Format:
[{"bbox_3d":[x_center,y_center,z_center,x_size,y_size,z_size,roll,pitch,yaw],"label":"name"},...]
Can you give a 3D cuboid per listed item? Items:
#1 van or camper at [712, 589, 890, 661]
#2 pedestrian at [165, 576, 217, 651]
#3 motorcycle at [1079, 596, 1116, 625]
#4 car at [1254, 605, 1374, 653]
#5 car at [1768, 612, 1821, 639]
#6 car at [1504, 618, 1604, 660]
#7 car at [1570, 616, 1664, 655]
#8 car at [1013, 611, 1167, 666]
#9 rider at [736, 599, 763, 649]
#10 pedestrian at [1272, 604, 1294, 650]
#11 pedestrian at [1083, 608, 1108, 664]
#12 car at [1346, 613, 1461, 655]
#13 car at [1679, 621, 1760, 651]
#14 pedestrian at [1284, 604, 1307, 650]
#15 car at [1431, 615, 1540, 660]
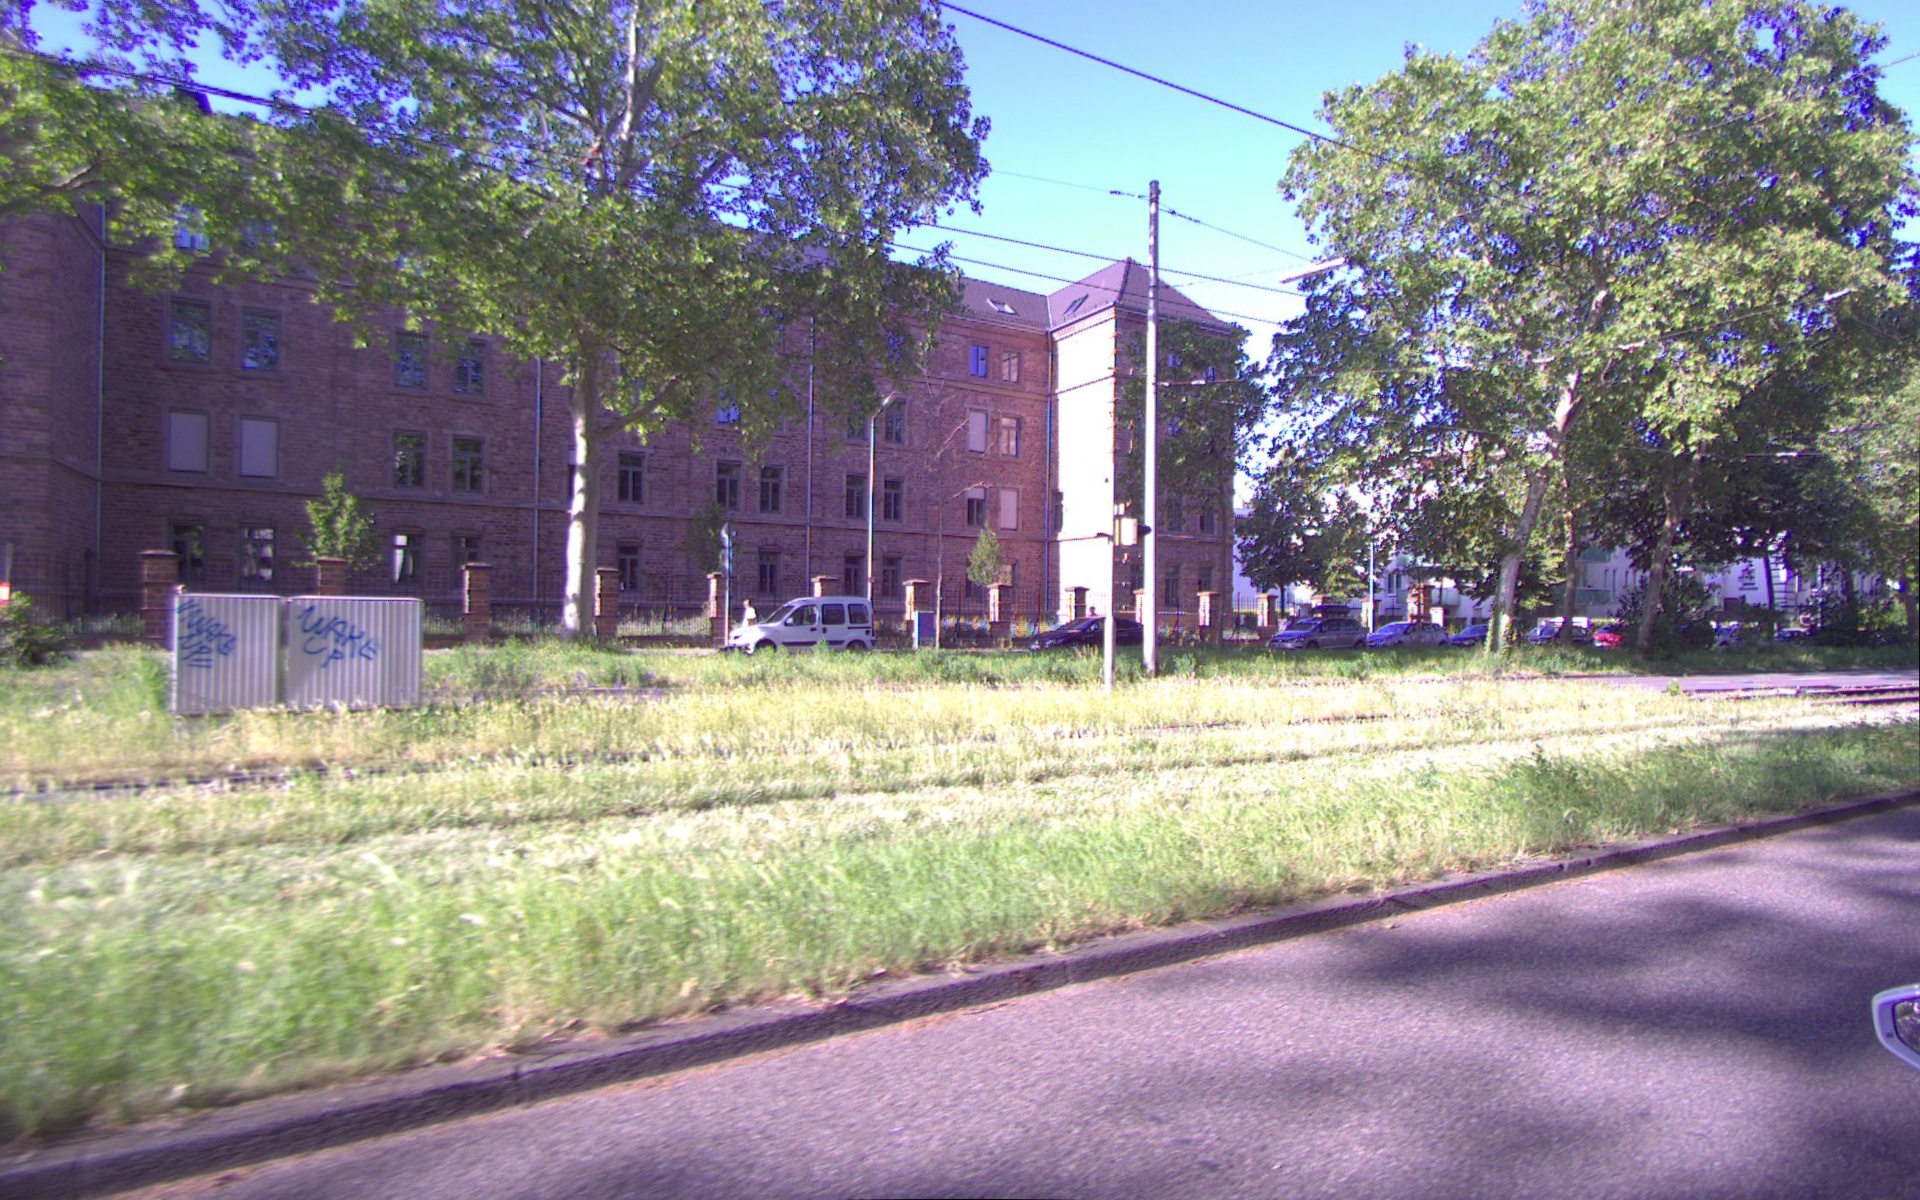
[{"bbox_3d":[-4.321,0.694,27.449,4.384,1.811,1.983,2,-1,-33],"label":"van or camper"},{"bbox_3d":[-20.155,0.358,26.355,0.930,1.925,0.897,1,0,-29],"label":"pedestrian"},{"bbox_3d":[5.105,0.379,37.378,1.278,1.067,0.581,0,0,-30],"label":"motorcycle"},{"bbox_3d":[13.412,1.095,38.026,4.362,1.742,1.762,1,-1,-26],"label":"car"},{"bbox_3d":[66.032,2.024,79.487,3.952,2.040,1.985,1,-1,-29],"label":"car"},{"bbox_3d":[27.425,1.752,46.325,4.686,1.833,2.097,1,-1,-32],"label":"car"},{"bbox_3d":[32.303,1.724,49.339,4.685,1.833,2.098,1,-1,-32],"label":"car"},{"bbox_3d":[4.275,1.225,32.789,4.769,1.671,1.984,1,0,-30],"label":"car"},{"bbox_3d":[-7.041,0.793,33.596,0.678,1.666,0.725,1,-1,-30],"label":"rider"},{"bbox_3d":[14.685,1.221,45.716,0.618,2.040,0.711,1,-1,-29],"label":"pedestrian"},{"bbox_3d":[5.043,1.333,37.331,0.702,2.040,0.582,1,0,-31],"label":"pedestrian"},{"bbox_3d":[18.041,1.371,40.861,4.362,1.637,1.987,1,-1,-26],"label":"car"},{"bbox_3d":[42.009,2.029,55.519,5.034,1.619,2.016,2,-3,-33],"label":"car"},{"bbox_3d":[15.053,1.192,45.058,0.618,2.040,0.711,1,-1,-29],"label":"pedestrian"},{"bbox_3d":[22.822,1.593,43.593,4.684,1.833,2.098,1,-1,-31],"label":"car"}]
